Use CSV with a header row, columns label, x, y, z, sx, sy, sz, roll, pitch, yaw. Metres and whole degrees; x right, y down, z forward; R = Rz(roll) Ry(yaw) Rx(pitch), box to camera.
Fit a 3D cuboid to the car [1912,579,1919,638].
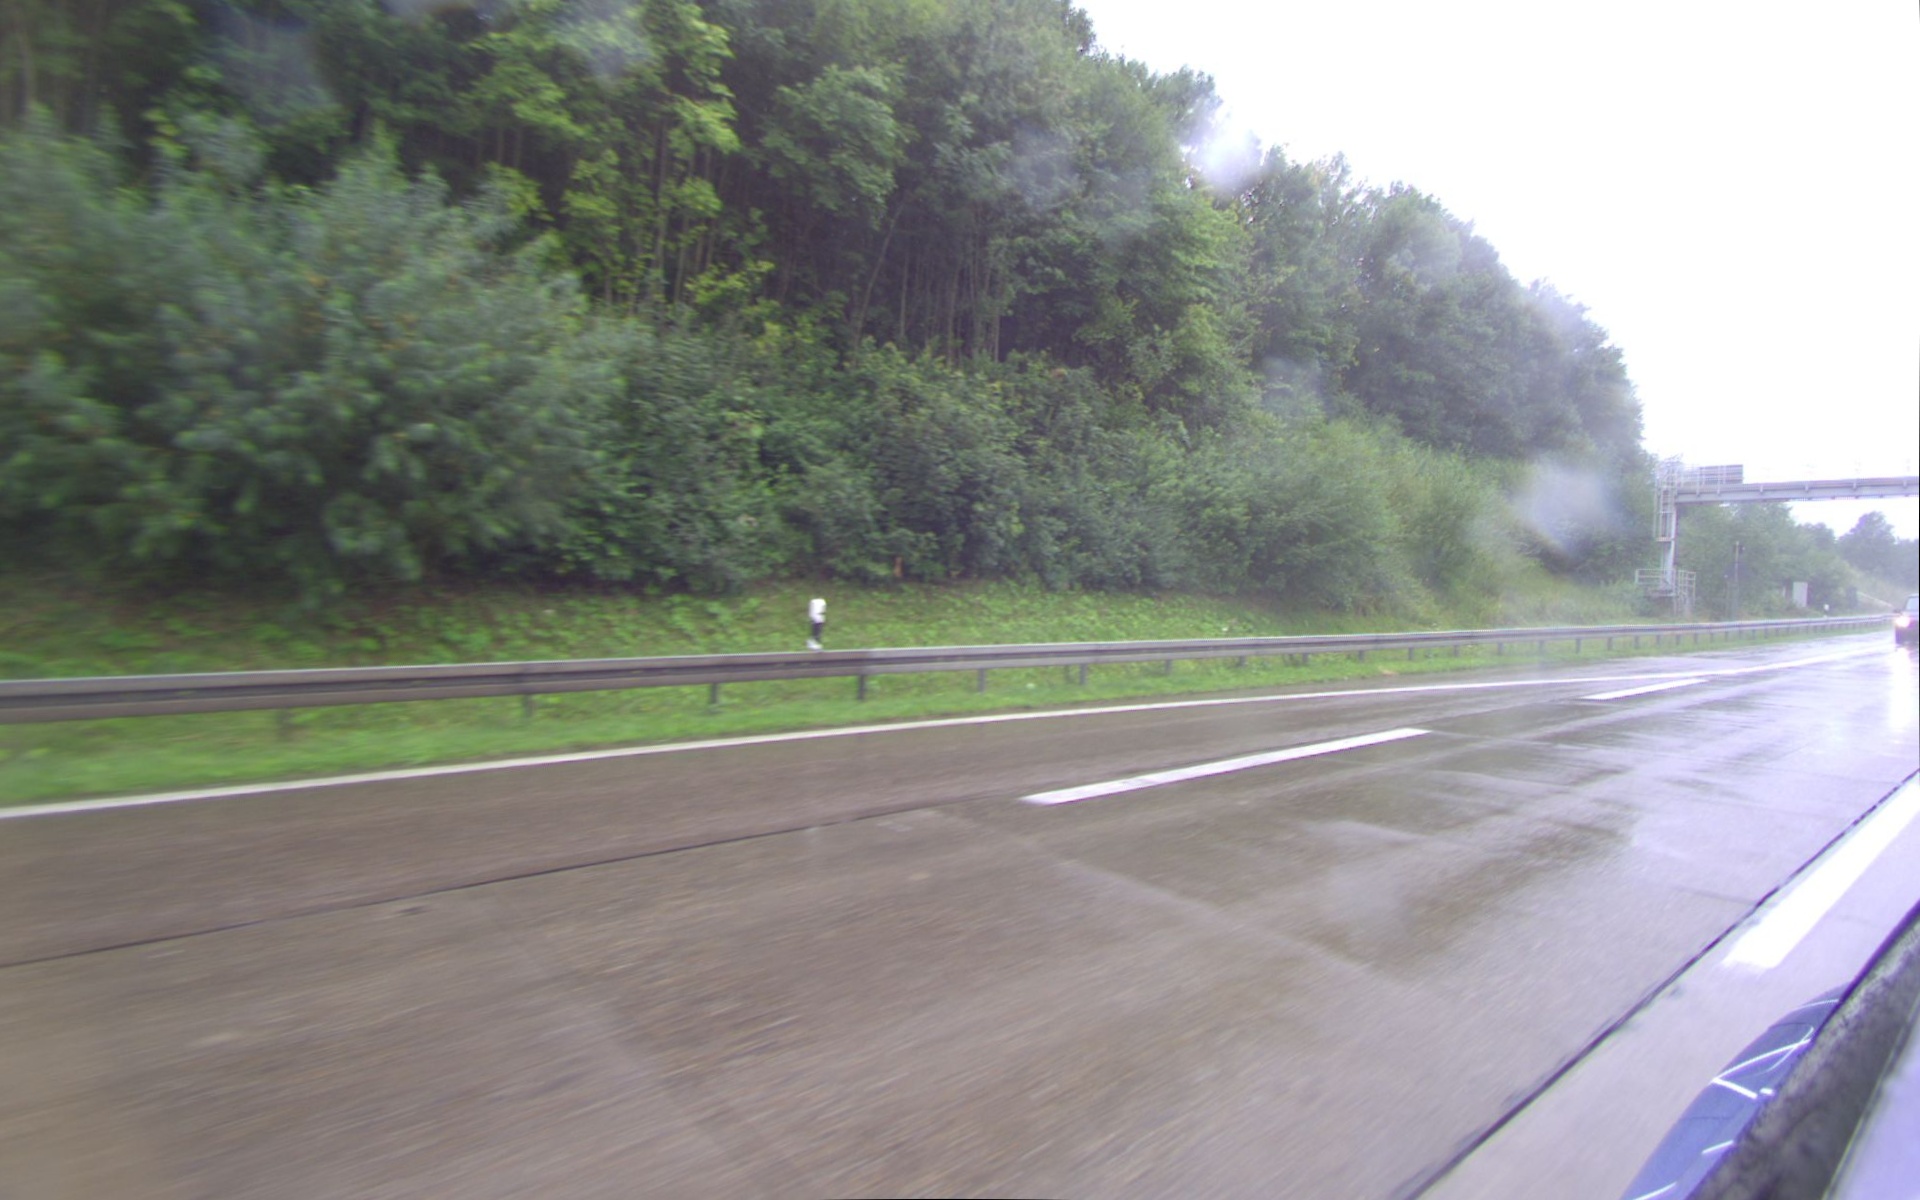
label,x,y,z,sx,sy,sz,roll,pitch,yaw
car,35.280,0.320,35.718,3.927,2.039,1.859,0,1,-38
